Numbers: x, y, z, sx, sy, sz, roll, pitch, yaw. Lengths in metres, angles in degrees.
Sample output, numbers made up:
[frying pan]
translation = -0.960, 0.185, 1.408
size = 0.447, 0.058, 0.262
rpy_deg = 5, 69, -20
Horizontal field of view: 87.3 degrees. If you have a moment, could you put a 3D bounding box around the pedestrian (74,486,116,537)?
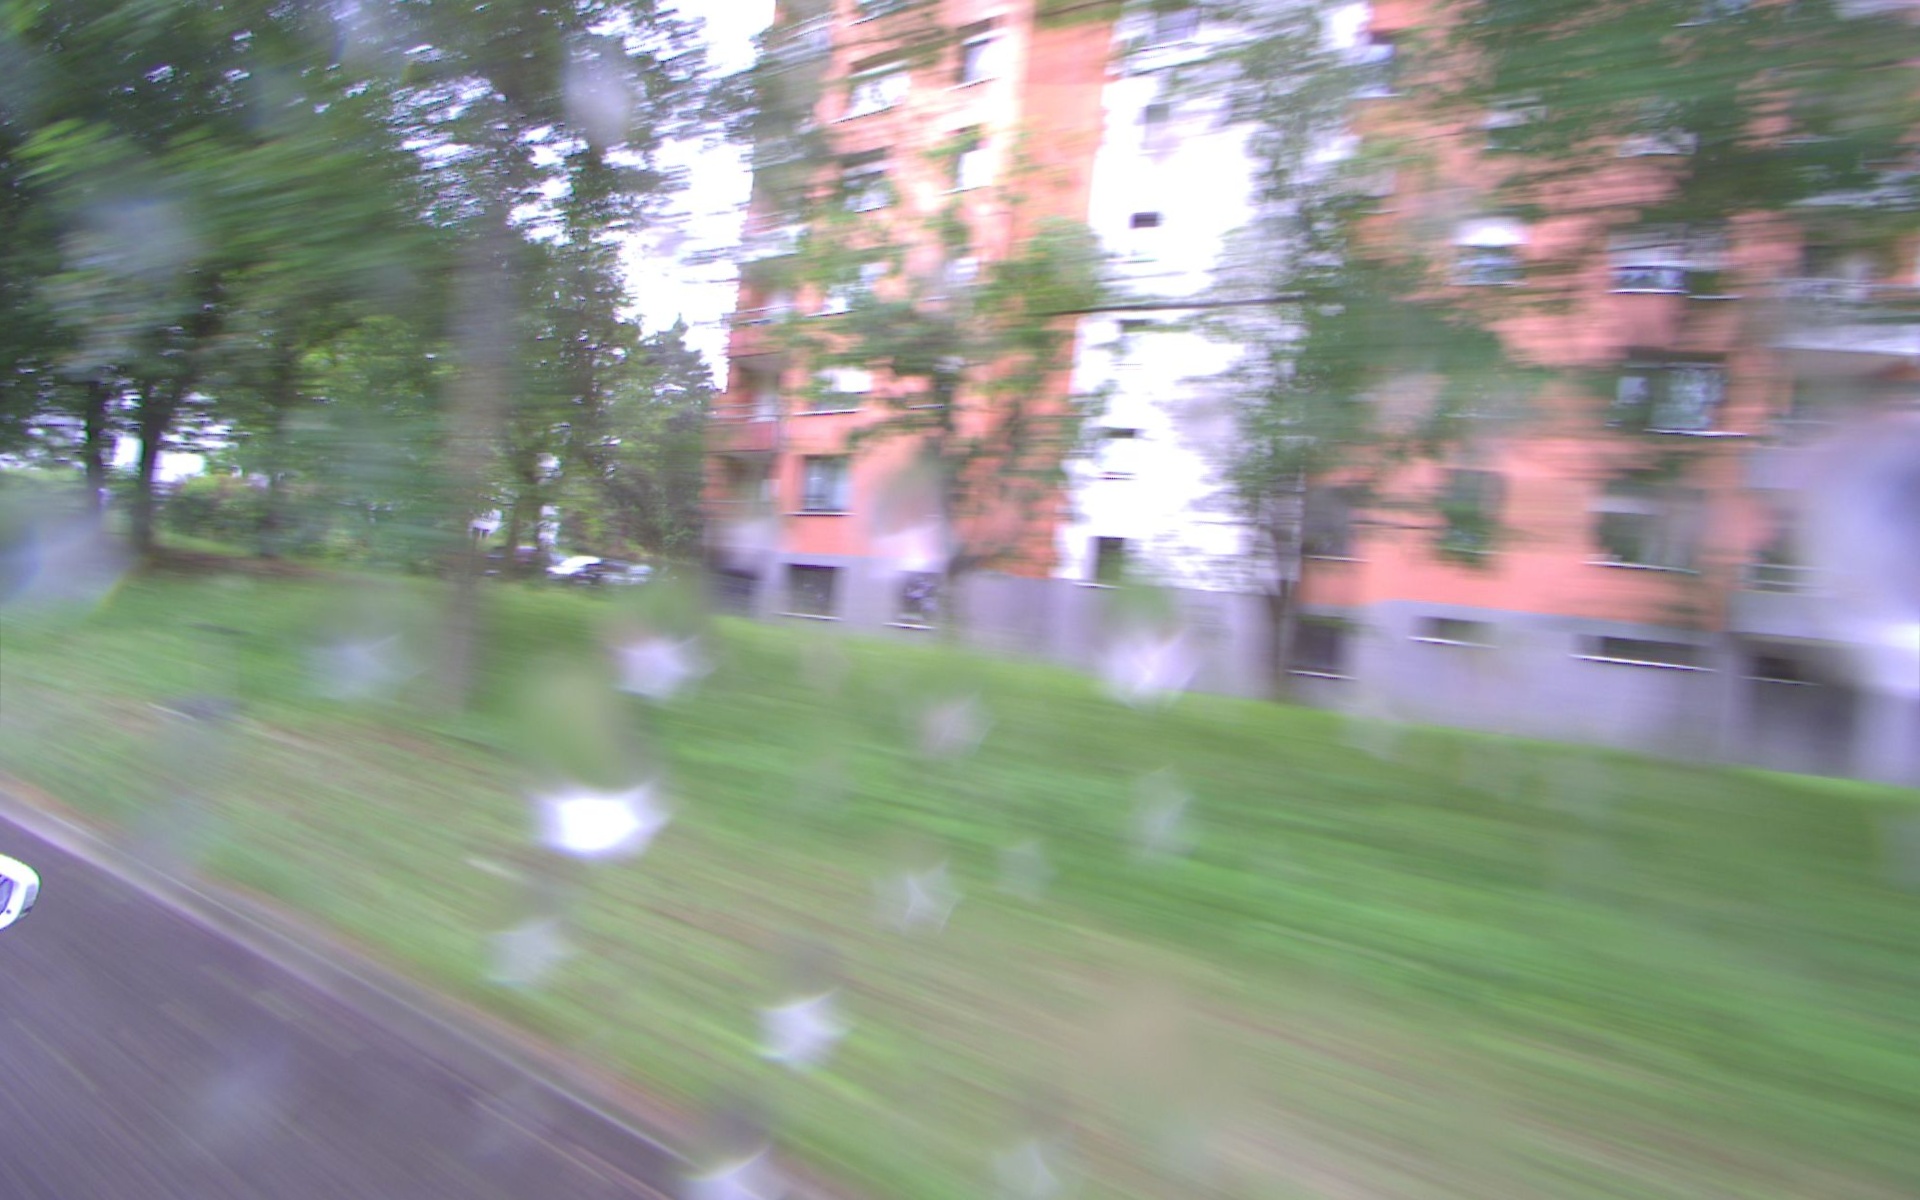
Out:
[pedestrian]
translation = -24.361, -2.487, 28.332
size = 0.614, 1.300, 0.654
rpy_deg = 7, 1, 33
